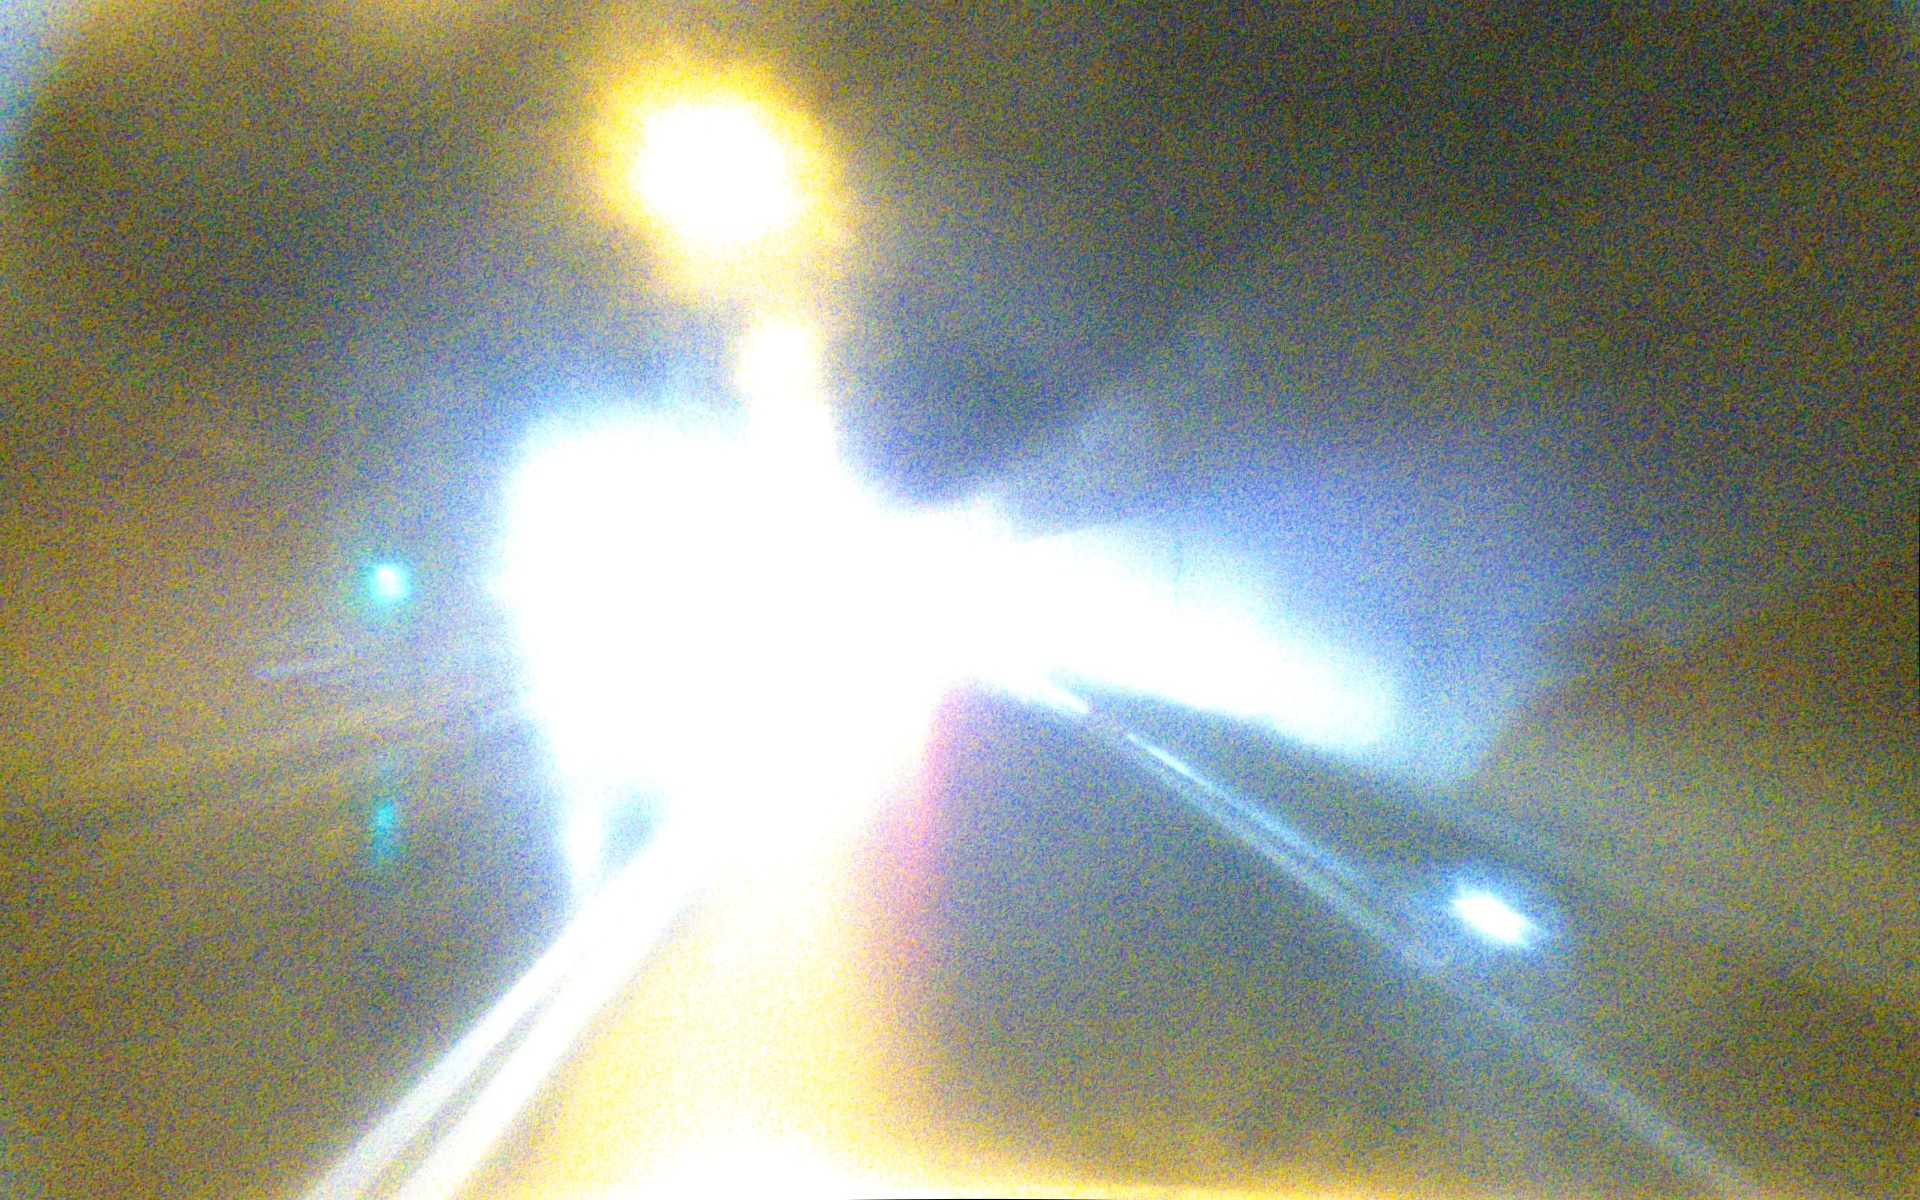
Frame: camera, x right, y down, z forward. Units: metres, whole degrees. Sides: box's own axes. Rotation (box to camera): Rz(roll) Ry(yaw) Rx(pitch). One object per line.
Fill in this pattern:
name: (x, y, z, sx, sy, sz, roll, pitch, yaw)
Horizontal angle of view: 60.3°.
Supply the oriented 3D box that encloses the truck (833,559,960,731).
truck: (-1.285, 0.827, 34.133, 2.217, 3.063, 7.412, 2, 0, -2)
